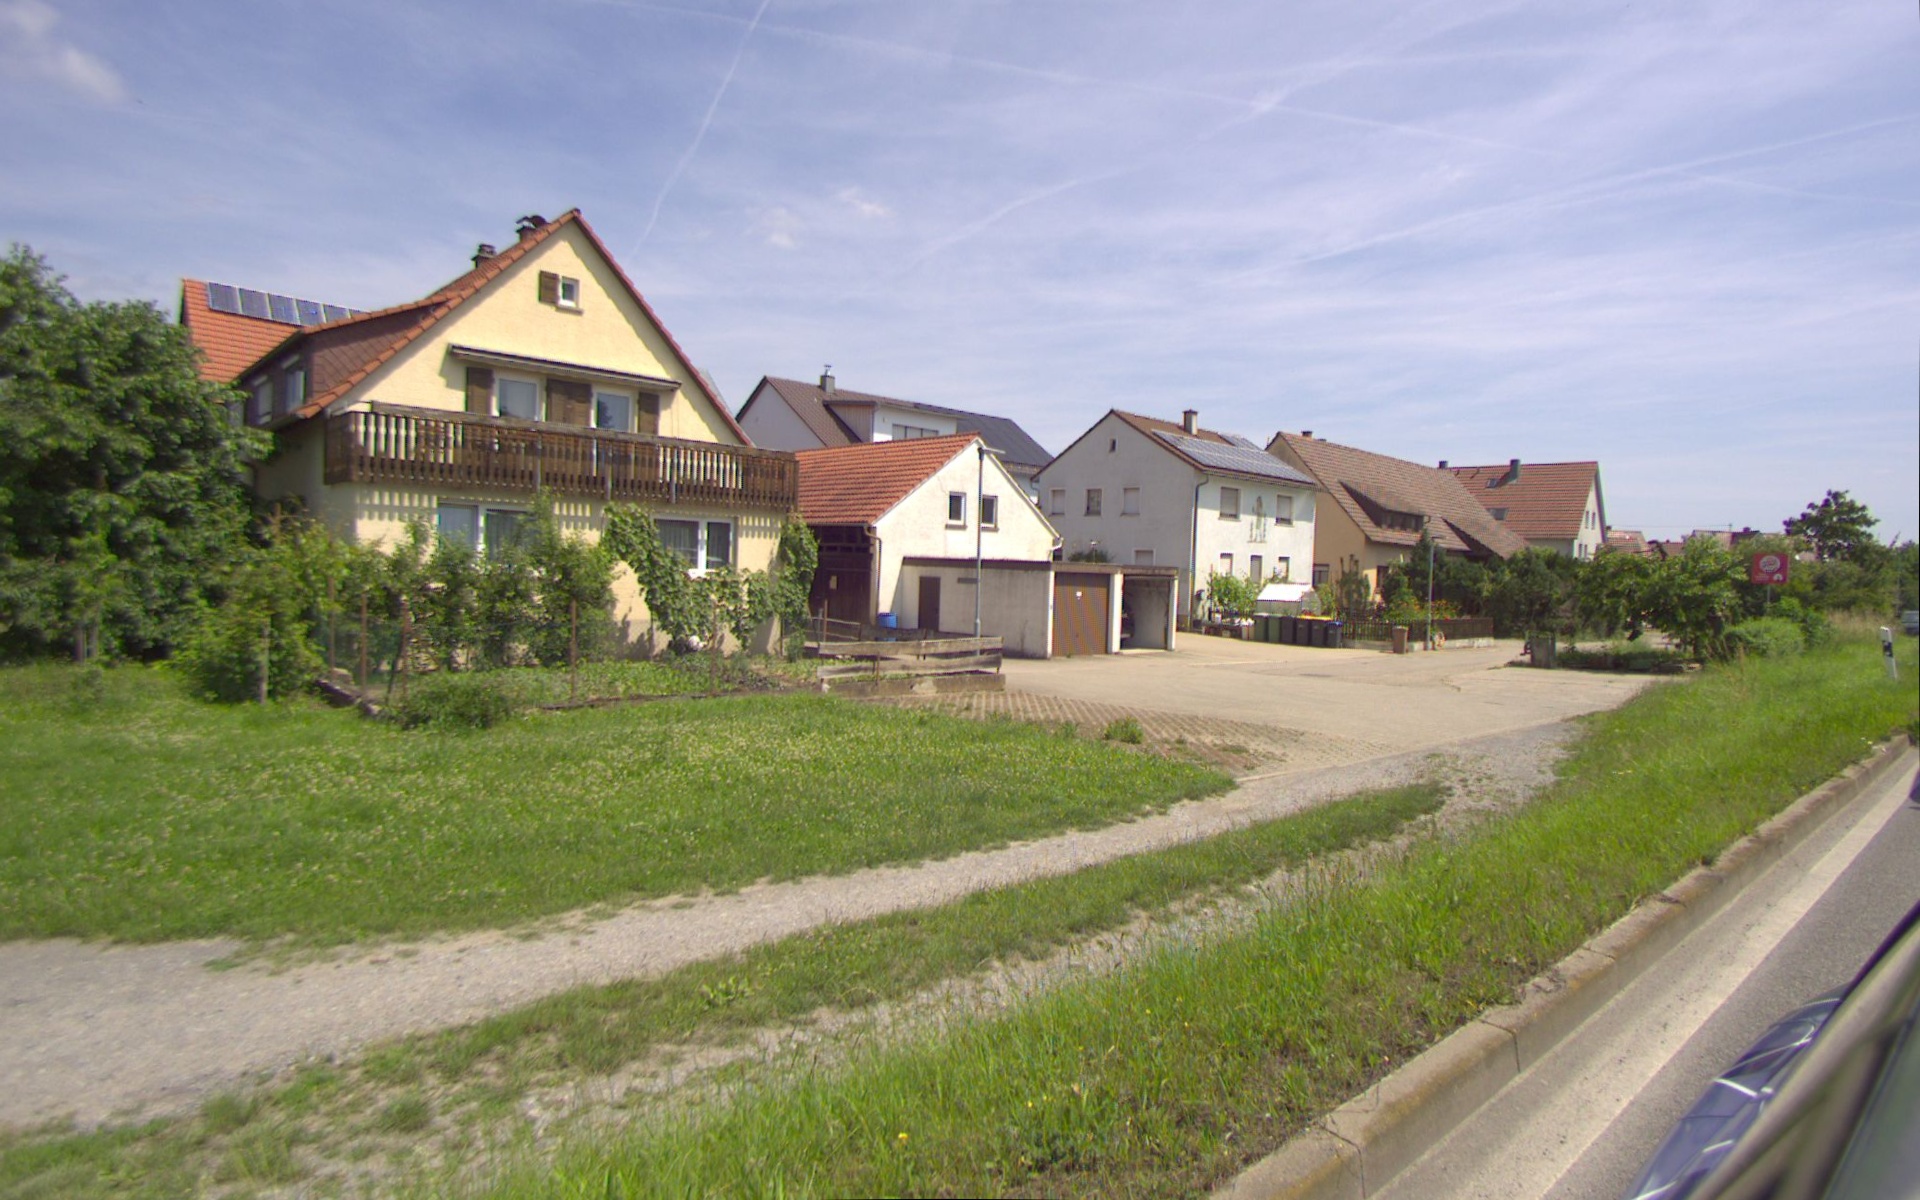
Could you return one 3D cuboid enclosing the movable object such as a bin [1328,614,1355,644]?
[{"bbox_3d":[13.935,1.055,36.977,0.743,1.040,0.645,1,0,-42],"label":"movable object such as a bin"}]

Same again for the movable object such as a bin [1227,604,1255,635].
[{"bbox_3d":[11.117,0.764,40.074,0.816,1.171,0.739,1,0,-42],"label":"movable object such as a bin"}]

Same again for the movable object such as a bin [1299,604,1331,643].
[{"bbox_3d":[13.217,0.865,37.679,0.930,1.387,0.764,1,0,-42],"label":"movable object such as a bin"}]

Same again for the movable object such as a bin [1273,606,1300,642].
[{"bbox_3d":[12.562,0.902,38.892,0.806,1.355,0.677,1,0,-42],"label":"movable object such as a bin"}]

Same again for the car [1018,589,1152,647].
[{"bbox_3d":[3.837,0.525,31.527,1.794,1.624,3.995,1,1,-40],"label":"car"}]

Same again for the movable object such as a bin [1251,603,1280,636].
[{"bbox_3d":[11.946,0.773,39.571,0.874,1.262,0.744,1,0,-42],"label":"movable object such as a bin"}]
